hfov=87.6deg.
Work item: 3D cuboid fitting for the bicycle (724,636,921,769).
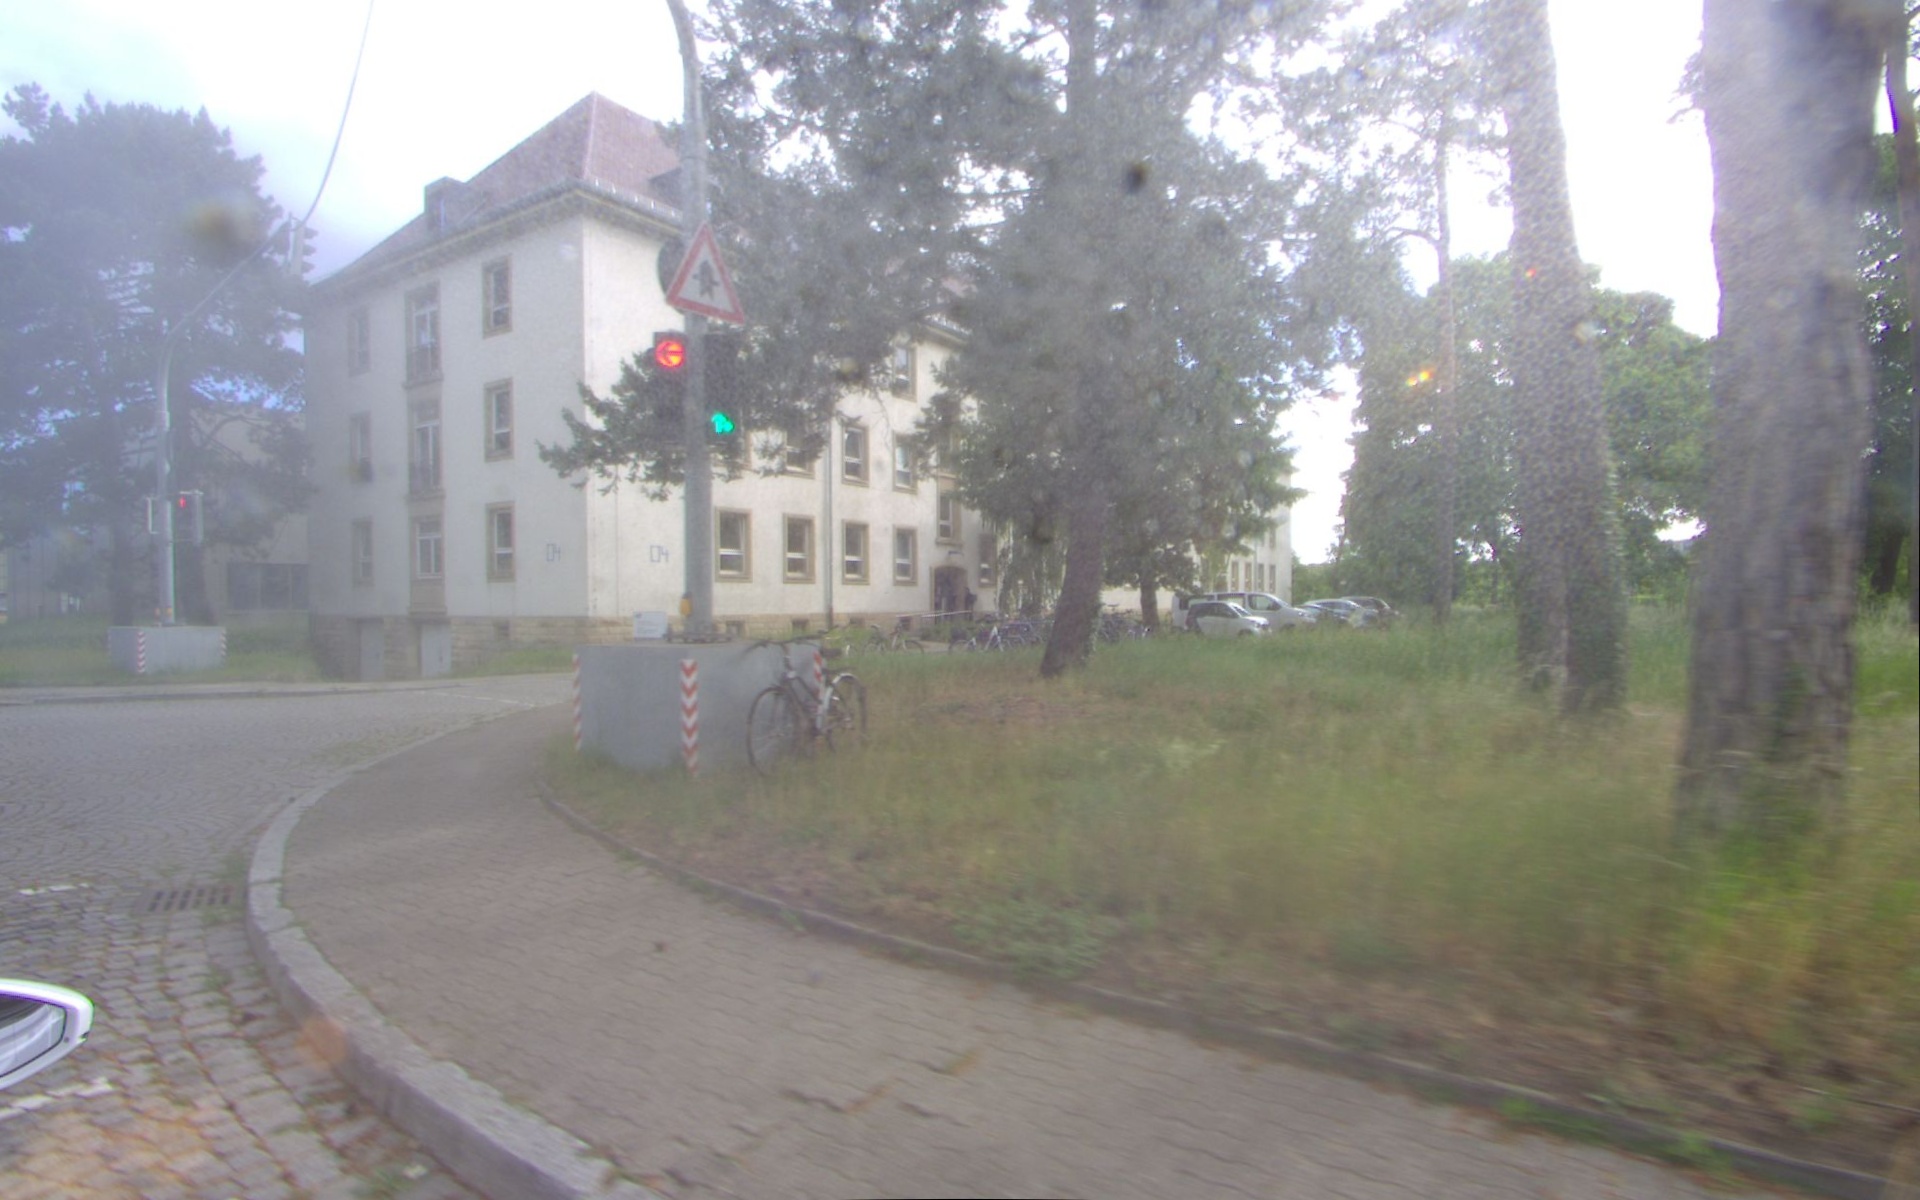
[{"bbox_3d":[-1.039,0.756,7.935,0.565,0.886,1.695,1,0,34],"label":"bicycle"}]

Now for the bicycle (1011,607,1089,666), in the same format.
[{"bbox_3d":[2.112,0.837,23.688,1.896,1.337,0.503,0,1,40],"label":"bicycle"}]

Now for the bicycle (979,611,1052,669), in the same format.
[{"bbox_3d":[1.229,0.862,22.281,1.619,1.232,0.539,0,1,40],"label":"bicycle"}]

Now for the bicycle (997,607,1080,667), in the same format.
[{"bbox_3d":[1.801,0.824,23.188,1.951,1.337,0.574,0,1,40],"label":"bicycle"}]

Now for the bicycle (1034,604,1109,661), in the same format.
[{"bbox_3d":[2.707,0.778,24.466,1.830,1.337,0.553,0,1,40],"label":"bicycle"}]

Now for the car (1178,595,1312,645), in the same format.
[{"bbox_3d":[9.346,0.618,32.957,3.880,1.550,1.850,0,0,36],"label":"car"}]

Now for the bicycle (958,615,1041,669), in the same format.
[{"bbox_3d":[0.847,0.894,21.844,1.879,1.116,0.539,0,0,40],"label":"bicycle"}]

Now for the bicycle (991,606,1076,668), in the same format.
[{"bbox_3d":[1.641,0.811,22.609,2.023,1.337,0.435,0,1,40],"label":"bicycle"}]

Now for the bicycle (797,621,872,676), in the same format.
[{"bbox_3d":[-2.397,0.911,19.293,0.523,0.993,1.617,1,0,33],"label":"bicycle"}]

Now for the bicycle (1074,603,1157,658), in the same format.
[{"bbox_3d":[4.096,0.784,26.480,2.077,1.385,0.754,0,1,40],"label":"bicycle"}]

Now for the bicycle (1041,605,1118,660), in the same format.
[{"bbox_3d":[2.964,0.788,25.027,1.915,1.337,0.551,0,1,40],"label":"bicycle"}]

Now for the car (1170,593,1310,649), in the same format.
[{"bbox_3d":[10.208,0.733,36.456,4.776,1.935,2.235,0,0,19],"label":"car"}]

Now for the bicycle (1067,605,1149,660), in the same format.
[{"bbox_3d":[3.797,0.814,25.825,2.106,1.337,0.552,0,1,40],"label":"bicycle"}]

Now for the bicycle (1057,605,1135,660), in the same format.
[{"bbox_3d":[3.426,0.803,25.393,1.991,1.337,0.538,0,1,40],"label":"bicycle"}]

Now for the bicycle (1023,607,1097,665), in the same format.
[{"bbox_3d":[2.386,0.845,24.045,1.895,1.337,0.390,0,1,40],"label":"bicycle"}]

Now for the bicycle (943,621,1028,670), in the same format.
[{"bbox_3d":[0.525,0.951,21.275,1.879,0.962,0.539,0,0,40],"label":"bicycle"}]

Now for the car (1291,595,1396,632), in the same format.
[{"bbox_3d":[19.414,0.642,50.780,4.632,1.796,1.988,0,0,35],"label":"car"}]

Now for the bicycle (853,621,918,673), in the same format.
[{"bbox_3d":[-1.533,0.954,20.825,0.535,1.028,1.532,1,0,33],"label":"bicycle"}]

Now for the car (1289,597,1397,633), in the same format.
[{"bbox_3d":[18.220,0.698,47.731,4.456,1.639,1.988,0,0,35],"label":"car"}]
